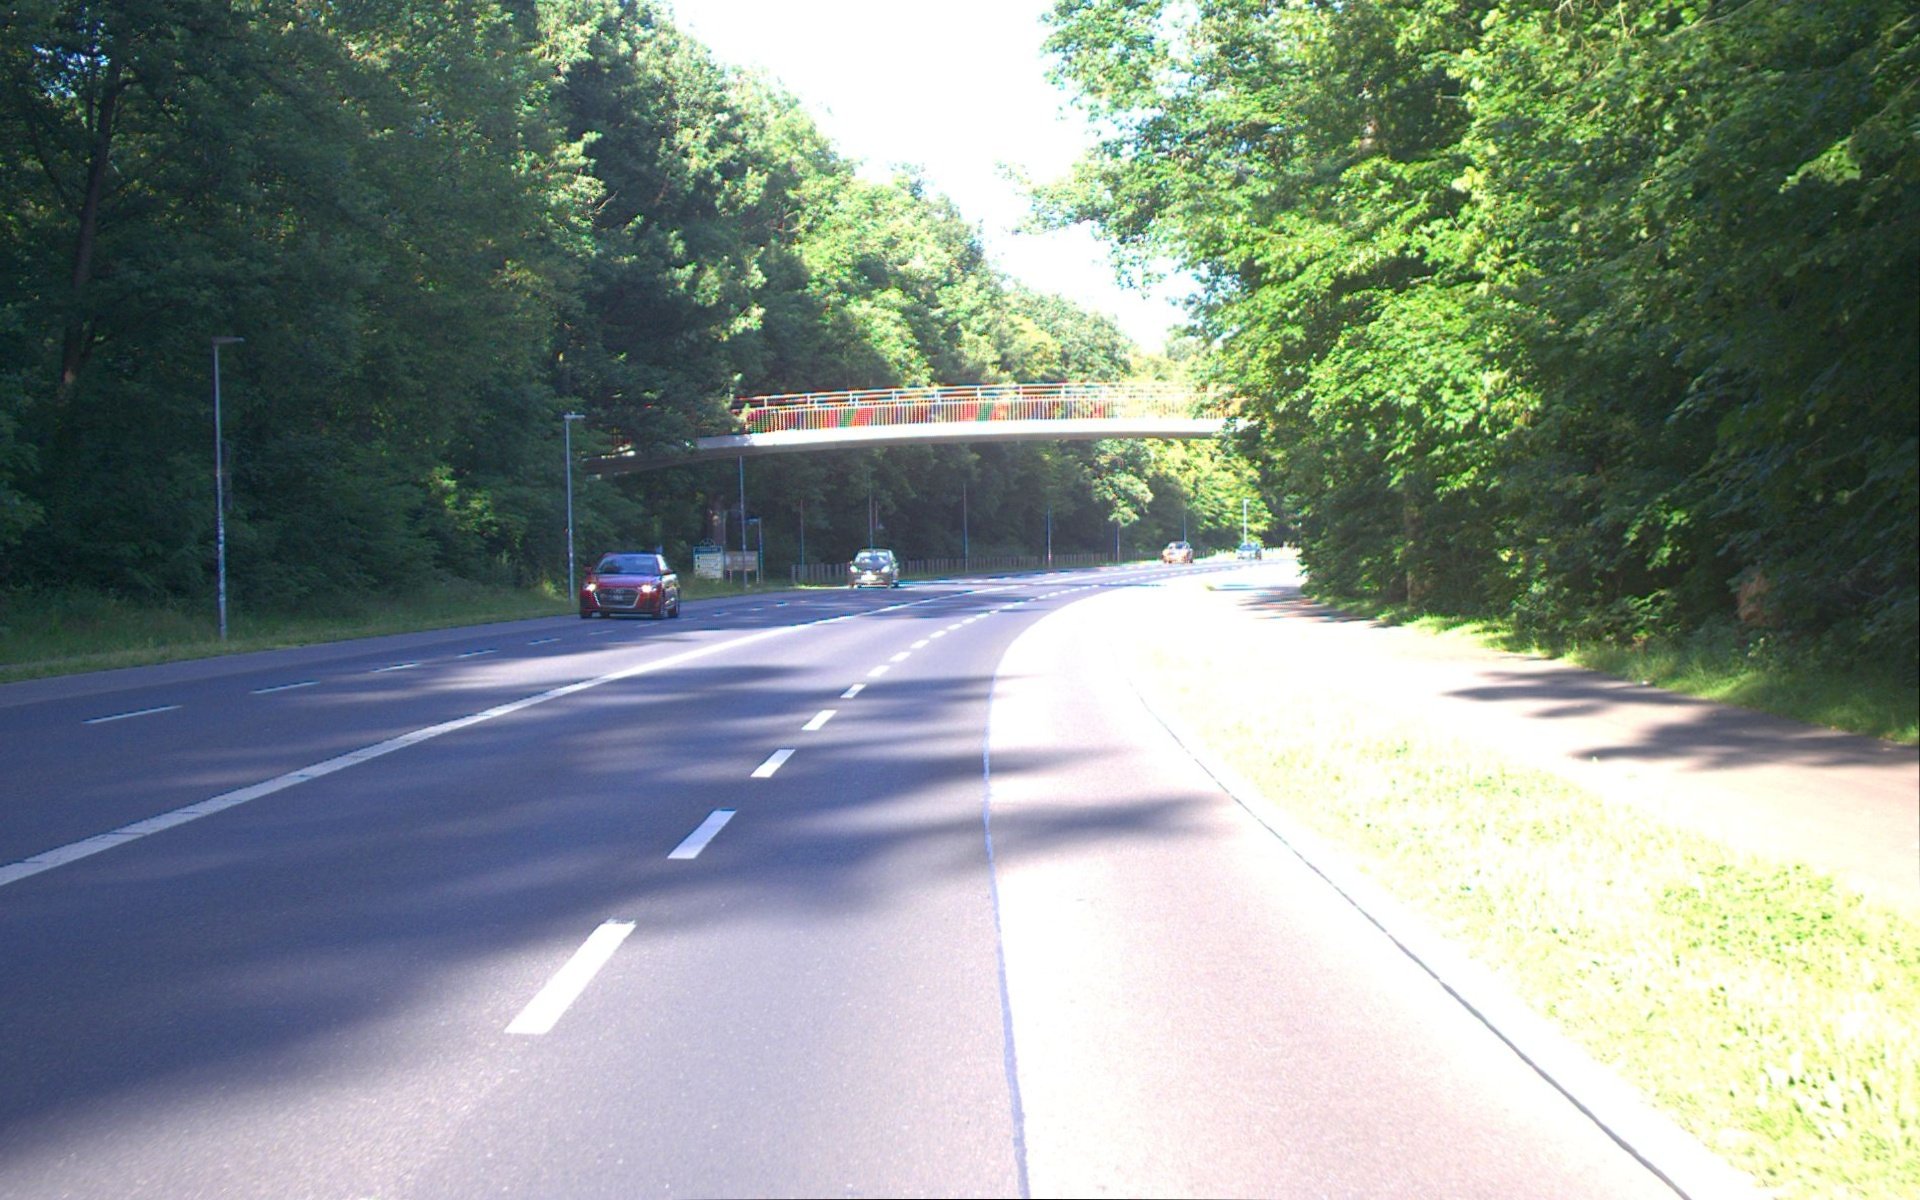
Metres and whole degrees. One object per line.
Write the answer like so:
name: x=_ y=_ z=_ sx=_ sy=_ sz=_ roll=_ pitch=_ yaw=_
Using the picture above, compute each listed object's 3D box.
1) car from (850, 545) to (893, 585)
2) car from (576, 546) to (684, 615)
car: x=-3.281 y=-1.302 z=127.870 sx=1.495 sy=1.439 sz=3.500 roll=0 pitch=1 yaw=0
car: x=-7.028 y=-0.438 z=73.570 sx=1.710 sy=1.418 sz=4.130 roll=0 pitch=1 yaw=3
